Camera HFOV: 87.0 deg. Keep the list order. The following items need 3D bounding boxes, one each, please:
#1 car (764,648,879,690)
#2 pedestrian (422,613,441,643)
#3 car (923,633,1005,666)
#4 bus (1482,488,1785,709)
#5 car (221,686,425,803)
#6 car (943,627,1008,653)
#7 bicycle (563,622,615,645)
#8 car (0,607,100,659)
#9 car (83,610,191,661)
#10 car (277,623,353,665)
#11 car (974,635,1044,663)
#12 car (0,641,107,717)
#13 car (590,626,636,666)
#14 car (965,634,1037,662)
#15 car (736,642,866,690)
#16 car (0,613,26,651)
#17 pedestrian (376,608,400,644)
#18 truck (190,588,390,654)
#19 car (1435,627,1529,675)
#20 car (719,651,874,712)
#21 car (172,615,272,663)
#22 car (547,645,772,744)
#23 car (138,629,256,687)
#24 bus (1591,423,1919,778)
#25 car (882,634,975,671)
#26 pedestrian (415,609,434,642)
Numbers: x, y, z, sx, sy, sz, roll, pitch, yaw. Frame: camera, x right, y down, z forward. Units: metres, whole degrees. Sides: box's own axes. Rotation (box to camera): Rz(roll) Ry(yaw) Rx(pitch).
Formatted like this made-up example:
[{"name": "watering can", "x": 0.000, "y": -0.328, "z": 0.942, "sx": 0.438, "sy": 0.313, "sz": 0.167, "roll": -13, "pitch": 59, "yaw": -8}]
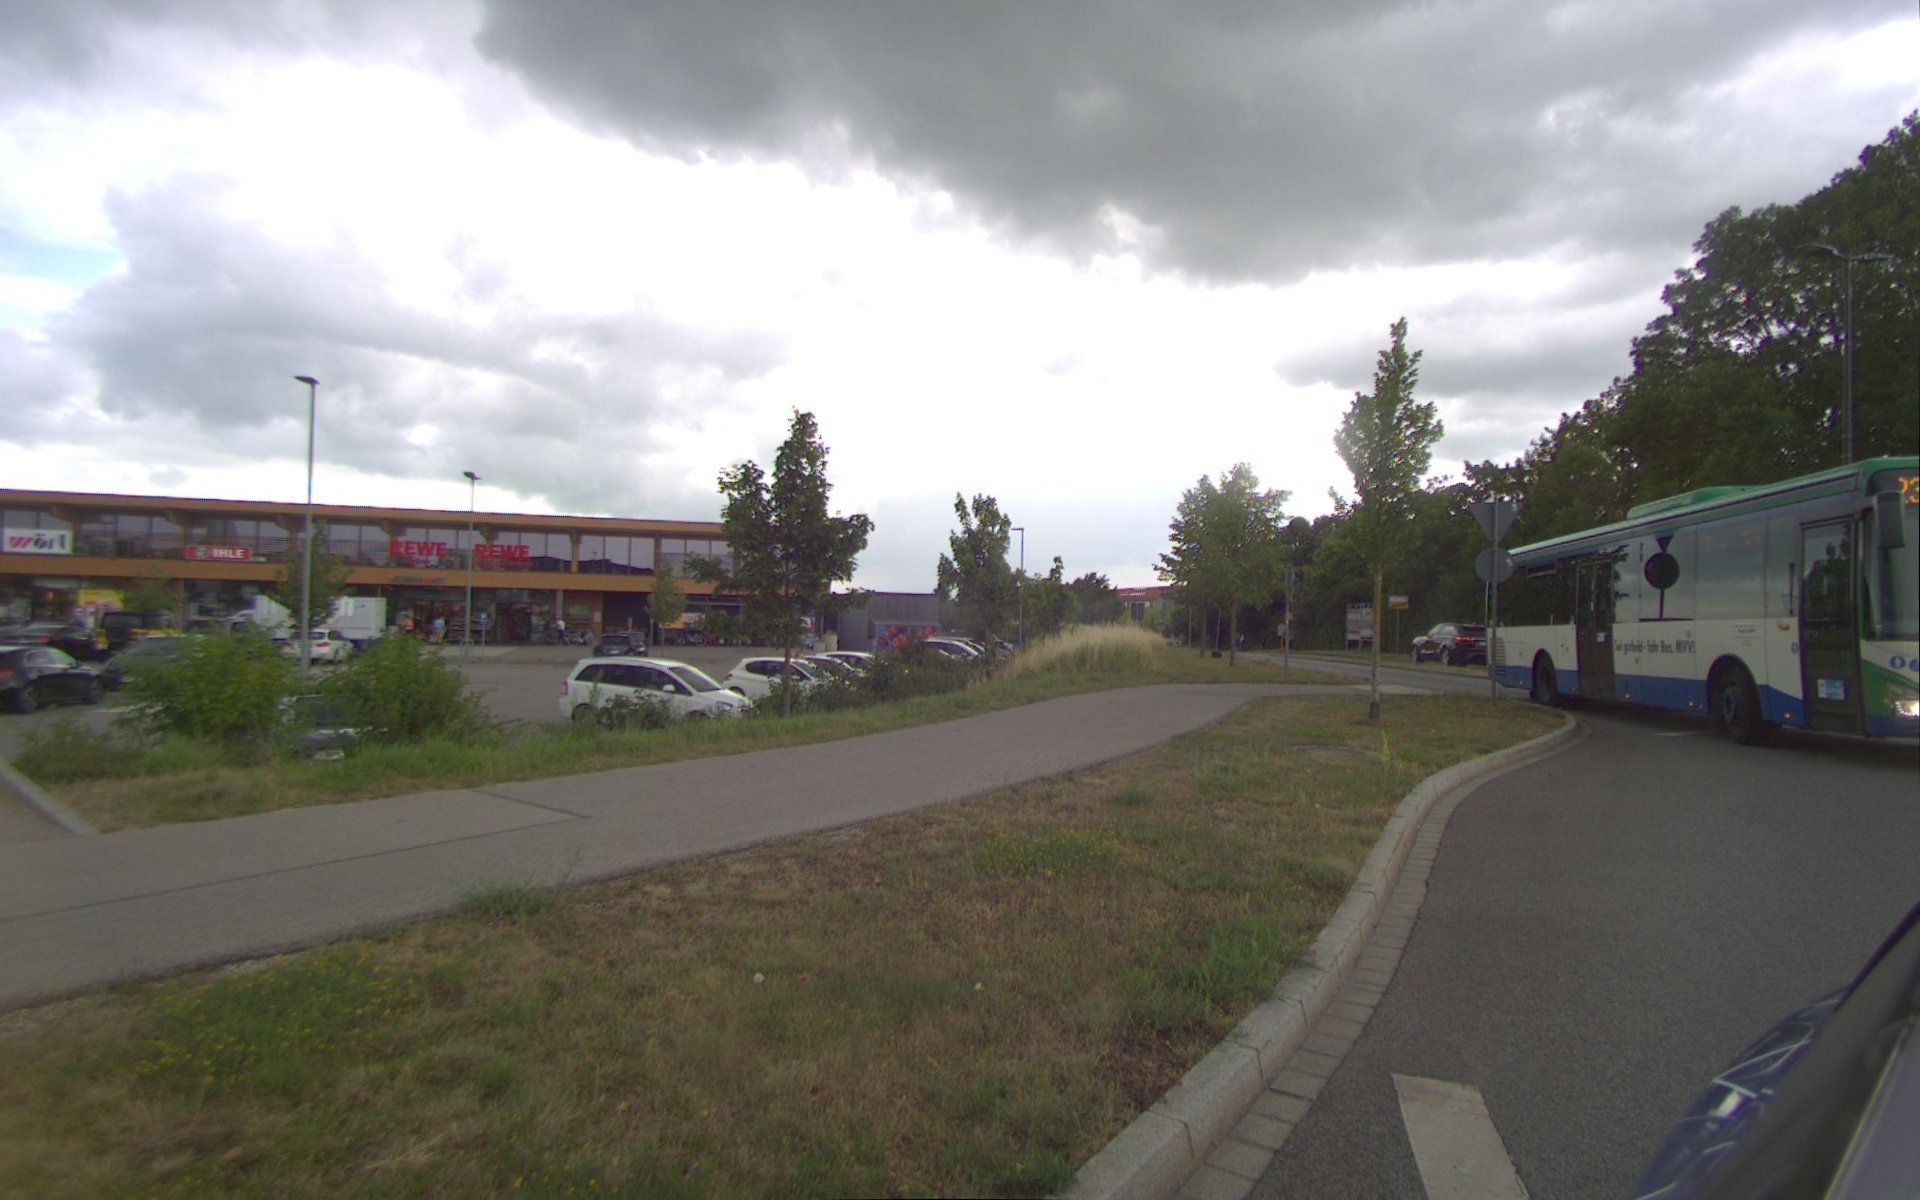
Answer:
[{"name": "car", "x": -4.660, "y": 2.321, "z": 34.176, "sx": 3.622, "sy": 1.311, "sz": 1.409, "roll": -1, "pitch": -2, "yaw": 14}, {"name": "pedestrian", "x": -29.808, "y": 1.569, "z": 57.062, "sx": 0.738, "sy": 1.678, "sz": 0.803, "roll": 2, "pitch": -2, "yaw": -45}, {"name": "car", "x": 0.218, "y": 2.491, "z": 51.245, "sx": 3.836, "sy": 1.483, "sz": 1.688, "roll": 1, "pitch": -1, "yaw": 17}, {"name": "bus", "x": 11.725, "y": 0.015, "z": 18.286, "sx": 2.485, "sy": 3.300, "sz": 5.442, "roll": -2, "pitch": -1, "yaw": 11}, {"name": "car", "x": -9.956, "y": 2.141, "z": 15.738, "sx": 3.713, "sy": 1.390, "sz": 1.558, "roll": -1, "pitch": -2, "yaw": 39}, {"name": "car", "x": 0.980, "y": 2.467, "z": 62.809, "sx": 3.926, "sy": 1.462, "sz": 1.883, "roll": 1, "pitch": -1, "yaw": 2}, {"name": "bicycle", "x": -21.972, "y": 2.006, "z": 60.049, "sx": 2.809, "sy": 1.326, "sz": 0.981, "roll": 1, "pitch": -1, "yaw": -16}, {"name": "car", "x": -34.962, "y": 1.204, "z": 38.700, "sx": 1.735, "sy": 1.878, "sz": 4.008, "roll": 1, "pitch": -1, "yaw": -19}, {"name": "car", "x": -32.124, "y": 1.351, "z": 39.648, "sx": 1.735, "sy": 1.878, "sz": 4.007, "roll": 1, "pitch": -1, "yaw": -14}, {"name": "car", "x": -26.005, "y": 1.735, "z": 40.941, "sx": 1.695, "sy": 1.549, "sz": 4.008, "roll": 1, "pitch": -1, "yaw": -20}, {"name": "car", "x": 2.906, "y": 2.834, "z": 59.430, "sx": 3.836, "sy": 1.483, "sz": 1.688, "roll": 1, "pitch": -1, "yaw": 17}, {"name": "car", "x": -21.180, "y": 1.709, "z": 22.662, "sx": 1.798, "sy": 1.416, "sz": 4.008, "roll": 1, "pitch": -1, "yaw": -19}, {"name": "car", "x": -14.889, "y": 1.942, "z": 43.606, "sx": 1.679, "sy": 1.588, "sz": 3.677, "roll": 1, "pitch": -1, "yaw": -16}, {"name": "car", "x": 2.334, "y": 2.716, "z": 57.845, "sx": 3.836, "sy": 1.483, "sz": 1.688, "roll": 1, "pitch": -1, "yaw": 17}, {"name": "car", "x": -4.764, "y": 1.968, "z": 30.543, "sx": 3.609, "sy": 1.311, "sz": 1.715, "roll": 0, "pitch": -1, "yaw": 3}, {"name": "car", "x": -41.601, "y": 1.350, "z": 42.544, "sx": 1.730, "sy": 1.633, "sz": 4.234, "roll": 1, "pitch": -1, "yaw": -18}, {"name": "pedestrian", "x": -31.411, "y": 1.446, "z": 55.542, "sx": 0.909, "sy": 1.923, "sz": 0.795, "roll": 1, "pitch": -4, "yaw": -14}, {"name": "truck", "x": -30.717, "y": 1.000, "z": 46.787, "sx": 7.104, "sy": 2.843, "sz": 2.982, "roll": 1, "pitch": -1, "yaw": -19}, {"name": "car", "x": 18.044, "y": 1.729, "z": 35.165, "sx": 1.614, "sy": 1.524, "sz": 3.577, "roll": 1, "pitch": -1, "yaw": 4}, {"name": "car", "x": -4.515, "y": 2.241, "z": 28.339, "sx": 3.929, "sy": 1.527, "sz": 1.997, "roll": 0, "pitch": -1, "yaw": 5}, {"name": "car", "x": -28.792, "y": 1.482, "z": 39.619, "sx": 1.813, "sy": 1.747, "sz": 4.128, "roll": 0, "pitch": -1, "yaw": -15}, {"name": "car", "x": -6.549, "y": 2.010, "z": 22.215, "sx": 4.377, "sy": 1.694, "sz": 1.794, "roll": 3, "pitch": 0, "yaw": 12}, {"name": "car", "x": -23.161, "y": 1.709, "z": 30.897, "sx": 1.695, "sy": 1.573, "sz": 4.008, "roll": 1, "pitch": -1, "yaw": -20}, {"name": "bus", "x": 10.541, "y": -0.025, "z": 12.410, "sx": 2.486, "sy": 3.300, "sz": 6.525, "roll": -2, "pitch": -1, "yaw": 12}, {"name": "car", "x": -1.388, "y": 2.323, "z": 45.003, "sx": 3.836, "sy": 1.483, "sz": 1.688, "roll": 1, "pitch": -1, "yaw": 17}, {"name": "pedestrian", "x": -33.303, "y": 1.588, "z": 62.944, "sx": 0.912, "sy": 2.039, "sz": 0.807, "roll": 1, "pitch": -1, "yaw": -21}]
